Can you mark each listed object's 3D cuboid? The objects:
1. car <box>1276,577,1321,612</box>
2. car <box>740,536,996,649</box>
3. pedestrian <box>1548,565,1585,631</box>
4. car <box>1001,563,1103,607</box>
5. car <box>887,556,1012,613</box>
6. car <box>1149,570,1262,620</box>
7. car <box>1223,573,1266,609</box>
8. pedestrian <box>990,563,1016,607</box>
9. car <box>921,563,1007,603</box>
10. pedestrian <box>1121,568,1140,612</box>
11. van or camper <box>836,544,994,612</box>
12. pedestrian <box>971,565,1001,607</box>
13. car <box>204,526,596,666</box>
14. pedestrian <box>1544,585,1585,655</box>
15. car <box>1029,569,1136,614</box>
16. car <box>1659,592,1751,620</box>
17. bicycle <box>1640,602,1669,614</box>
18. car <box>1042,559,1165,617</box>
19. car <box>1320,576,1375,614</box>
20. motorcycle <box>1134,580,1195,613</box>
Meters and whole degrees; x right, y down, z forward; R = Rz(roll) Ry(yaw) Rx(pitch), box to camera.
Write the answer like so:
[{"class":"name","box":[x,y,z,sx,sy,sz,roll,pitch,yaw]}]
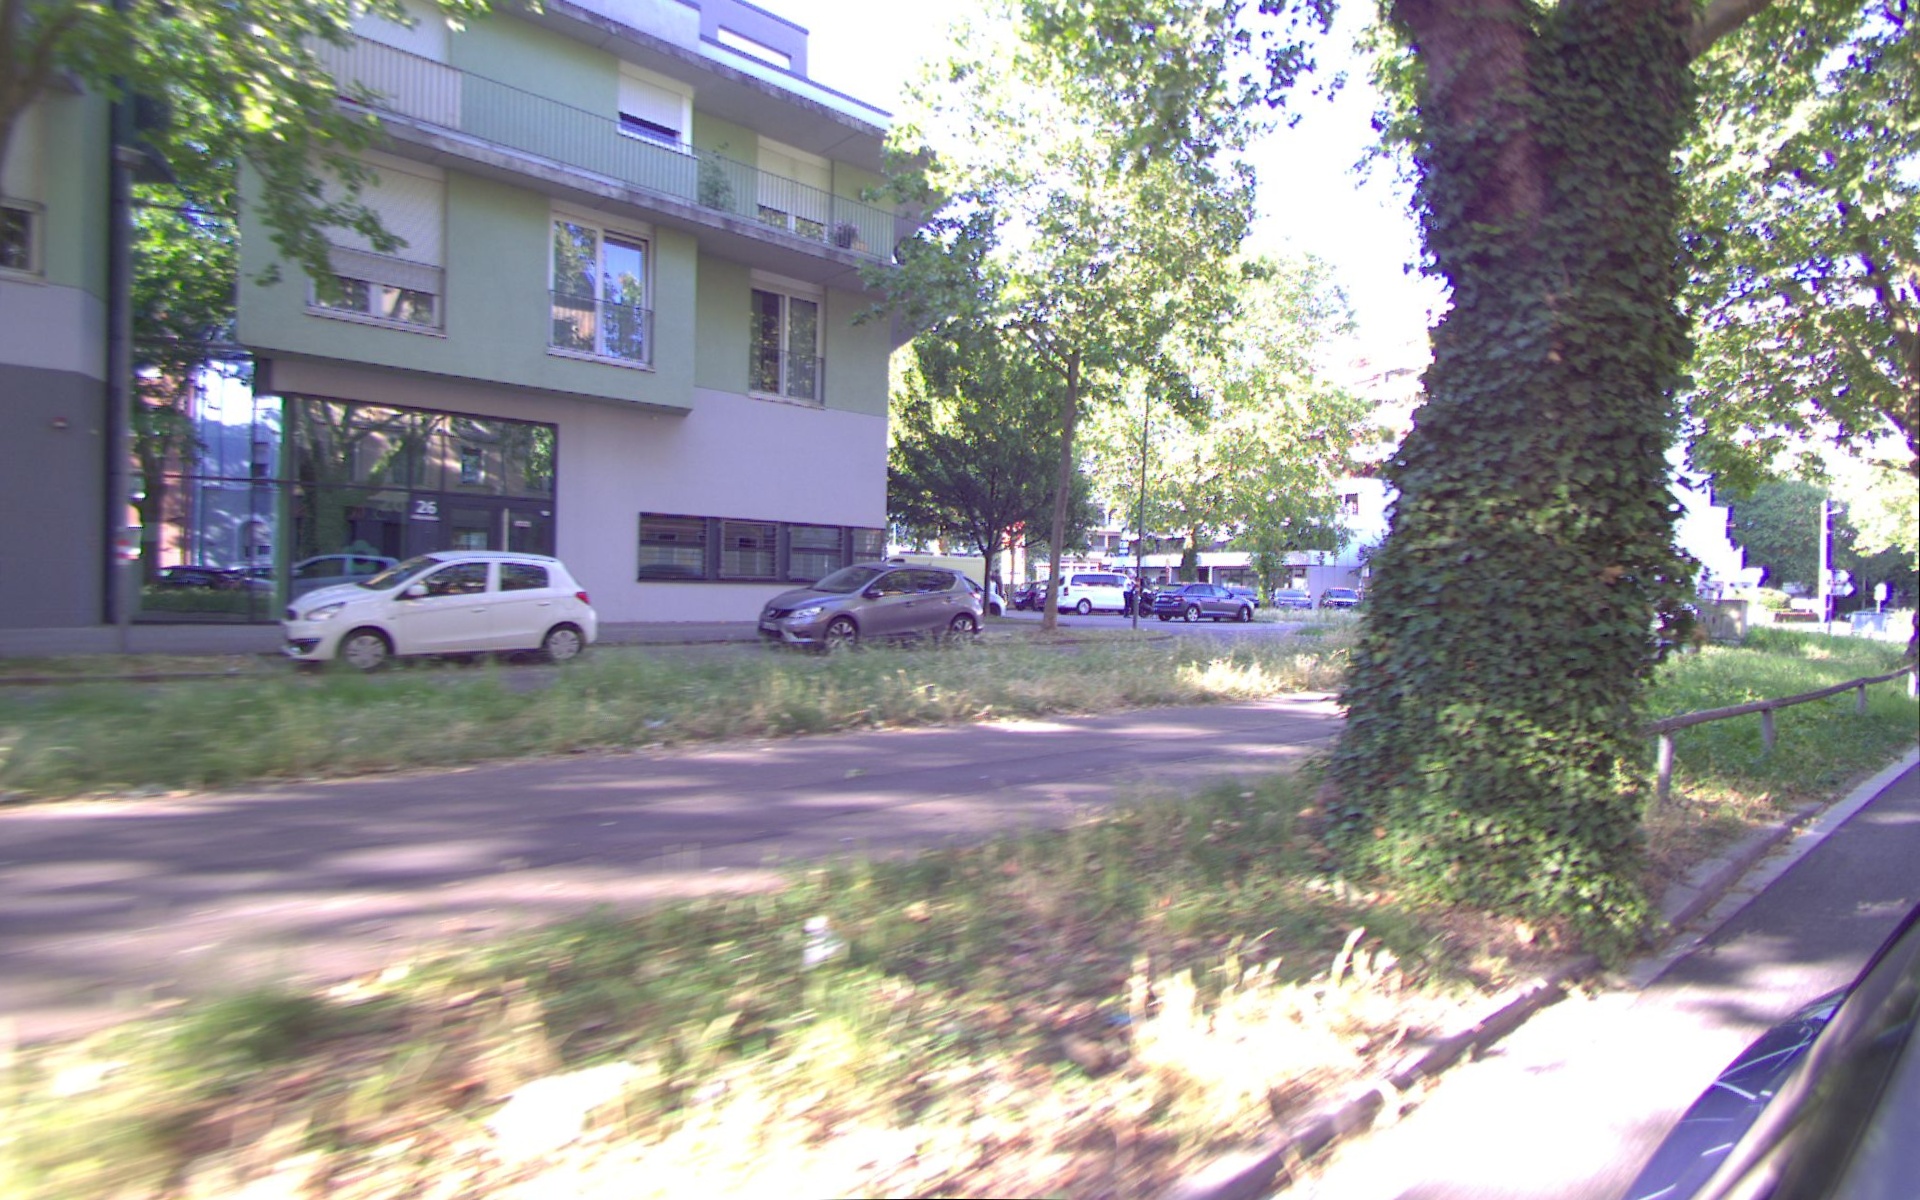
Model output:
[{"class":"car","box":[17.604,-0.269,52.803,1.802,1.607,4.349,4,0,14]},{"class":"car","box":[-1.572,-0.143,18.128,4.244,1.793,1.908,0,2,-41]},{"class":"pedestrian","box":[17.928,-0.063,29.919,0.781,1.903,0.792,2,1,39]},{"class":"car","box":[4.579,-0.753,50.159,4.537,1.798,2.005,4,-1,-25]},{"class":"car","box":[-0.329,-0.480,31.935,3.484,1.473,1.679,4,-1,-25]},{"class":"car","box":[9.118,-0.180,37.555,3.906,1.542,1.678,4,-1,-30]},{"class":"car","box":[15.199,-0.456,53.978,1.850,1.659,3.972,4,-1,20]},{"class":"pedestrian","box":[1.810,-0.641,42.731,0.672,1.832,0.966,1,1,-24]},{"class":"car","box":[0.255,-0.894,54.874,4.557,1.798,1.996,5,-1,-45]},{"class":"pedestrian","box":[6.810,-0.405,40.528,0.521,1.773,0.561,-1,1,-30]},{"class":"van or camper","box":[-1.655,-0.790,37.142,5.257,2.275,2.270,1,1,-23]},{"class":"pedestrian","box":[1.092,-0.597,42.114,0.930,1.719,0.885,1,1,-23]},{"class":"car","box":[-7.273,-0.067,13.384,4.244,1.562,1.862,0,2,-41]},{"class":"pedestrian","box":[17.444,0.565,29.201,0.835,1.956,0.771,2,1,41]},{"class":"car","box":[5.795,-0.403,47.941,4.537,1.798,2.005,4,-1,-25]},{"class":"car","box":[45.767,0.326,62.240,4.154,1.530,1.789,2,1,21]},{"class":"bicycle","box":[47.898,0.558,69.780,1.561,0.794,0.460,2,0,27]},{"class":"car","box":[6.345,-0.514,44.619,4.946,2.123,2.005,4,-1,-25]},{"class":"car","box":[19.467,-0.215,51.016,1.910,1.680,4.457,4,0,14]},{"class":"motorcycle","box":[8.171,-0.128,40.380,2.269,1.263,0.953,1,1,-29]}]
